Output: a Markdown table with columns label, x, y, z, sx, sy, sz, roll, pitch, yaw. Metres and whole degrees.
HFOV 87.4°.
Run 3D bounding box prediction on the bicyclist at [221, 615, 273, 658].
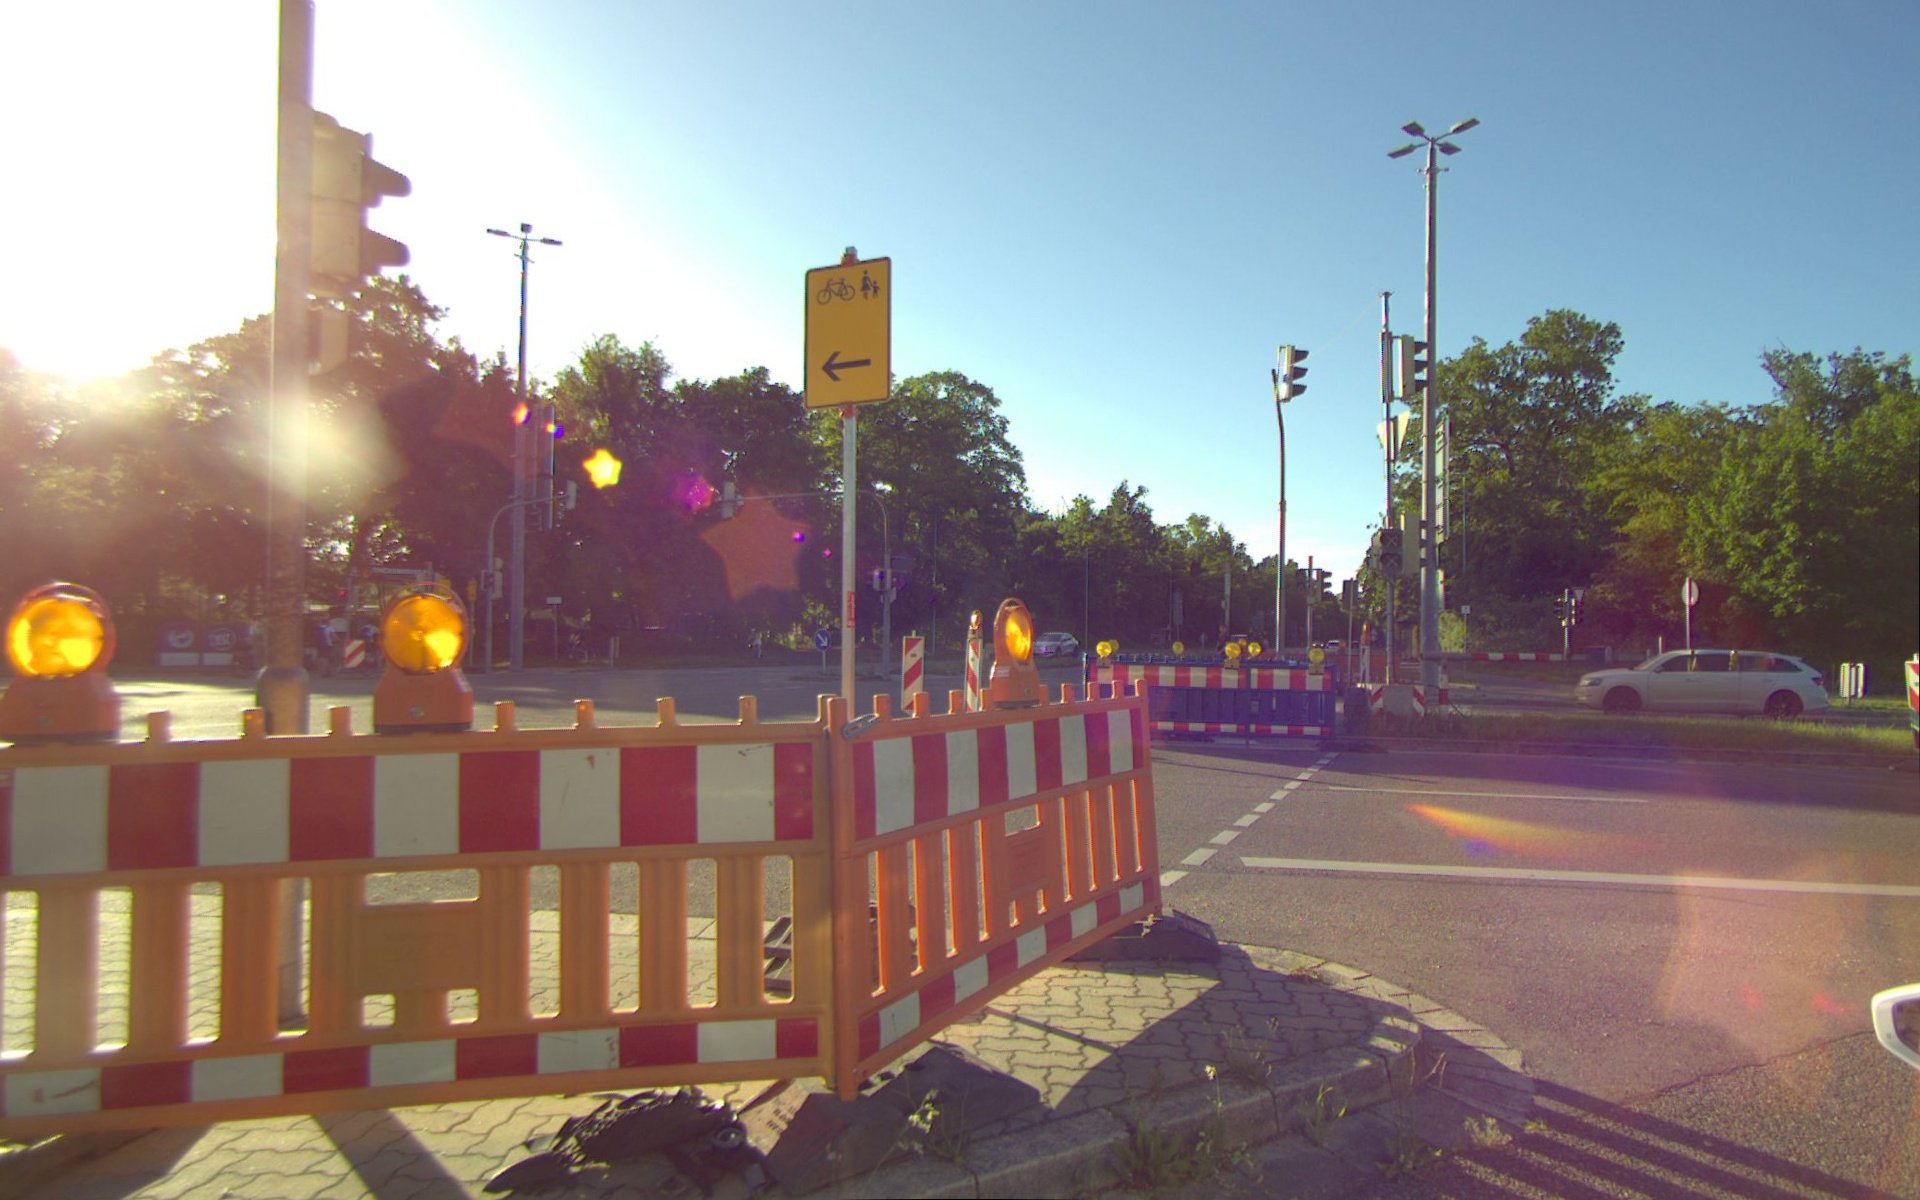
| label | x | y | z | sx | sy | sz | roll | pitch | yaw |
| --- | --- | --- | --- | --- | --- | --- | --- | --- | --- |
| bicyclist | -20.619 | 1.056 | 29.051 | 0.704 | 1.208 | 0.988 | 0 | -2 | 31 |

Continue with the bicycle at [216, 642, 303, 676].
| label | x | y | z | sx | sy | sz | roll | pitch | yaw |
| --- | --- | --- | --- | --- | --- | --- | --- | --- | --- |
| bicycle | -19.876 | 1.661 | 28.541 | 0.704 | 0.926 | 1.907 | 0 | -2 | 31 |

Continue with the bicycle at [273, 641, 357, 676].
| label | x | y | z | sx | sy | sz | roll | pitch | yaw |
| --- | --- | --- | --- | --- | --- | --- | --- | --- | --- |
| bicycle | -18.403 | 1.652 | 28.695 | 0.704 | 0.926 | 1.907 | 0 | -2 | 31 |

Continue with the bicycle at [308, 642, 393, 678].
| label | x | y | z | sx | sy | sz | roll | pitch | yaw |
| --- | --- | --- | --- | --- | --- | --- | --- | --- | --- |
| bicycle | -16.808 | 1.645 | 27.746 | 0.704 | 0.926 | 1.907 | 0 | -2 | 31 |

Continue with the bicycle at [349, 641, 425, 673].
| label | x | y | z | sx | sy | sz | roll | pitch | yaw |
| --- | --- | --- | --- | --- | --- | --- | --- | --- | --- |
| bicycle | -17.379 | 1.721 | 30.514 | 0.704 | 0.926 | 1.907 | 0 | -2 | 31 |

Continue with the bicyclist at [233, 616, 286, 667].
| label | x | y | z | sx | sy | sz | roll | pitch | yaw |
| --- | --- | --- | --- | --- | --- | --- | --- | --- | --- |
| bicyclist | -19.889 | 1.172 | 28.525 | 0.700 | 1.408 | 0.988 | 0 | -2 | 31 |

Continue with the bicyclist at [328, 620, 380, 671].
| label | x | y | z | sx | sy | sz | roll | pitch | yaw |
| --- | --- | --- | --- | --- | --- | --- | --- | --- | --- |
| bicyclist | -16.770 | 1.248 | 27.804 | 0.704 | 1.356 | 0.988 | 0 | -2 | 31 |

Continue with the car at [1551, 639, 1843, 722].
| label | x | y | z | sx | sy | sz | roll | pitch | yaw |
| --- | --- | --- | --- | --- | --- | --- | --- | --- | --- |
| car | 15.788 | 1.689 | 21.762 | 4.735 | 1.601 | 2.001 | 1 | -2 | 6 |

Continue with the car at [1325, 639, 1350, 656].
| label | x | y | z | sx | sy | sz | roll | pitch | yaw |
| --- | --- | --- | --- | --- | --- | --- | --- | --- | --- |
| car | 35.153 | 4.407 | 93.466 | 1.909 | 1.433 | 3.998 | 0 | -2 | 23 |

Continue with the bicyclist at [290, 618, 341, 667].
| label | x | y | z | sx | sy | sz | roll | pitch | yaw |
| --- | --- | --- | --- | --- | --- | --- | --- | --- | --- |
| bicyclist | -18.397 | 1.212 | 28.700 | 0.704 | 1.373 | 0.988 | 0 | -2 | 31 |

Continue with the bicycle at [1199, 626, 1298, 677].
| label | x | y | z | sx | sy | sz | roll | pitch | yaw |
| --- | --- | --- | --- | --- | --- | --- | --- | --- | --- |
| bicycle | 8.453 | 1.509 | 29.467 | 2.593 | 1.401 | 0.967 | 2 | -1 | -10 |

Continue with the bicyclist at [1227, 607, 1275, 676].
| label | x | y | z | sx | sy | sz | roll | pitch | yaw |
| --- | --- | --- | --- | --- | --- | --- | --- | --- | --- |
| bicyclist | 8.535 | 1.213 | 29.484 | 0.998 | 1.955 | 0.967 | 2 | -1 | -9 |

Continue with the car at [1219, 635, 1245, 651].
| label | x | y | z | sx | sy | sz | roll | pitch | yaw |
| --- | --- | --- | --- | --- | --- | --- | --- | --- | --- |
| car | 29.508 | 4.679 | 108.997 | 1.963 | 1.676 | 4.245 | 0 | -2 | 26 |

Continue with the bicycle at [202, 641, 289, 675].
| label | x | y | z | sx | sy | sz | roll | pitch | yaw |
| --- | --- | --- | --- | --- | --- | --- | --- | --- | --- |
| bicycle | -20.627 | 1.656 | 29.036 | 0.704 | 0.926 | 1.907 | 0 | -1 | 31 |

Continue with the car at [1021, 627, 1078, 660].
| label | x | y | z | sx | sy | sz | roll | pitch | yaw |
| --- | --- | --- | --- | --- | --- | --- | --- | --- | --- |
| car | 5.296 | 2.551 | 58.929 | 1.963 | 1.813 | 4.245 | 0 | -2 | 26 |

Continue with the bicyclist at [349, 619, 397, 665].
| label | x | y | z | sx | sy | sz | roll | pitch | yaw |
| --- | --- | --- | --- | --- | --- | --- | --- | --- | --- |
| bicyclist | -17.605 | 1.259 | 30.130 | 0.704 | 1.360 | 0.988 | 0 | -2 | 31 |
